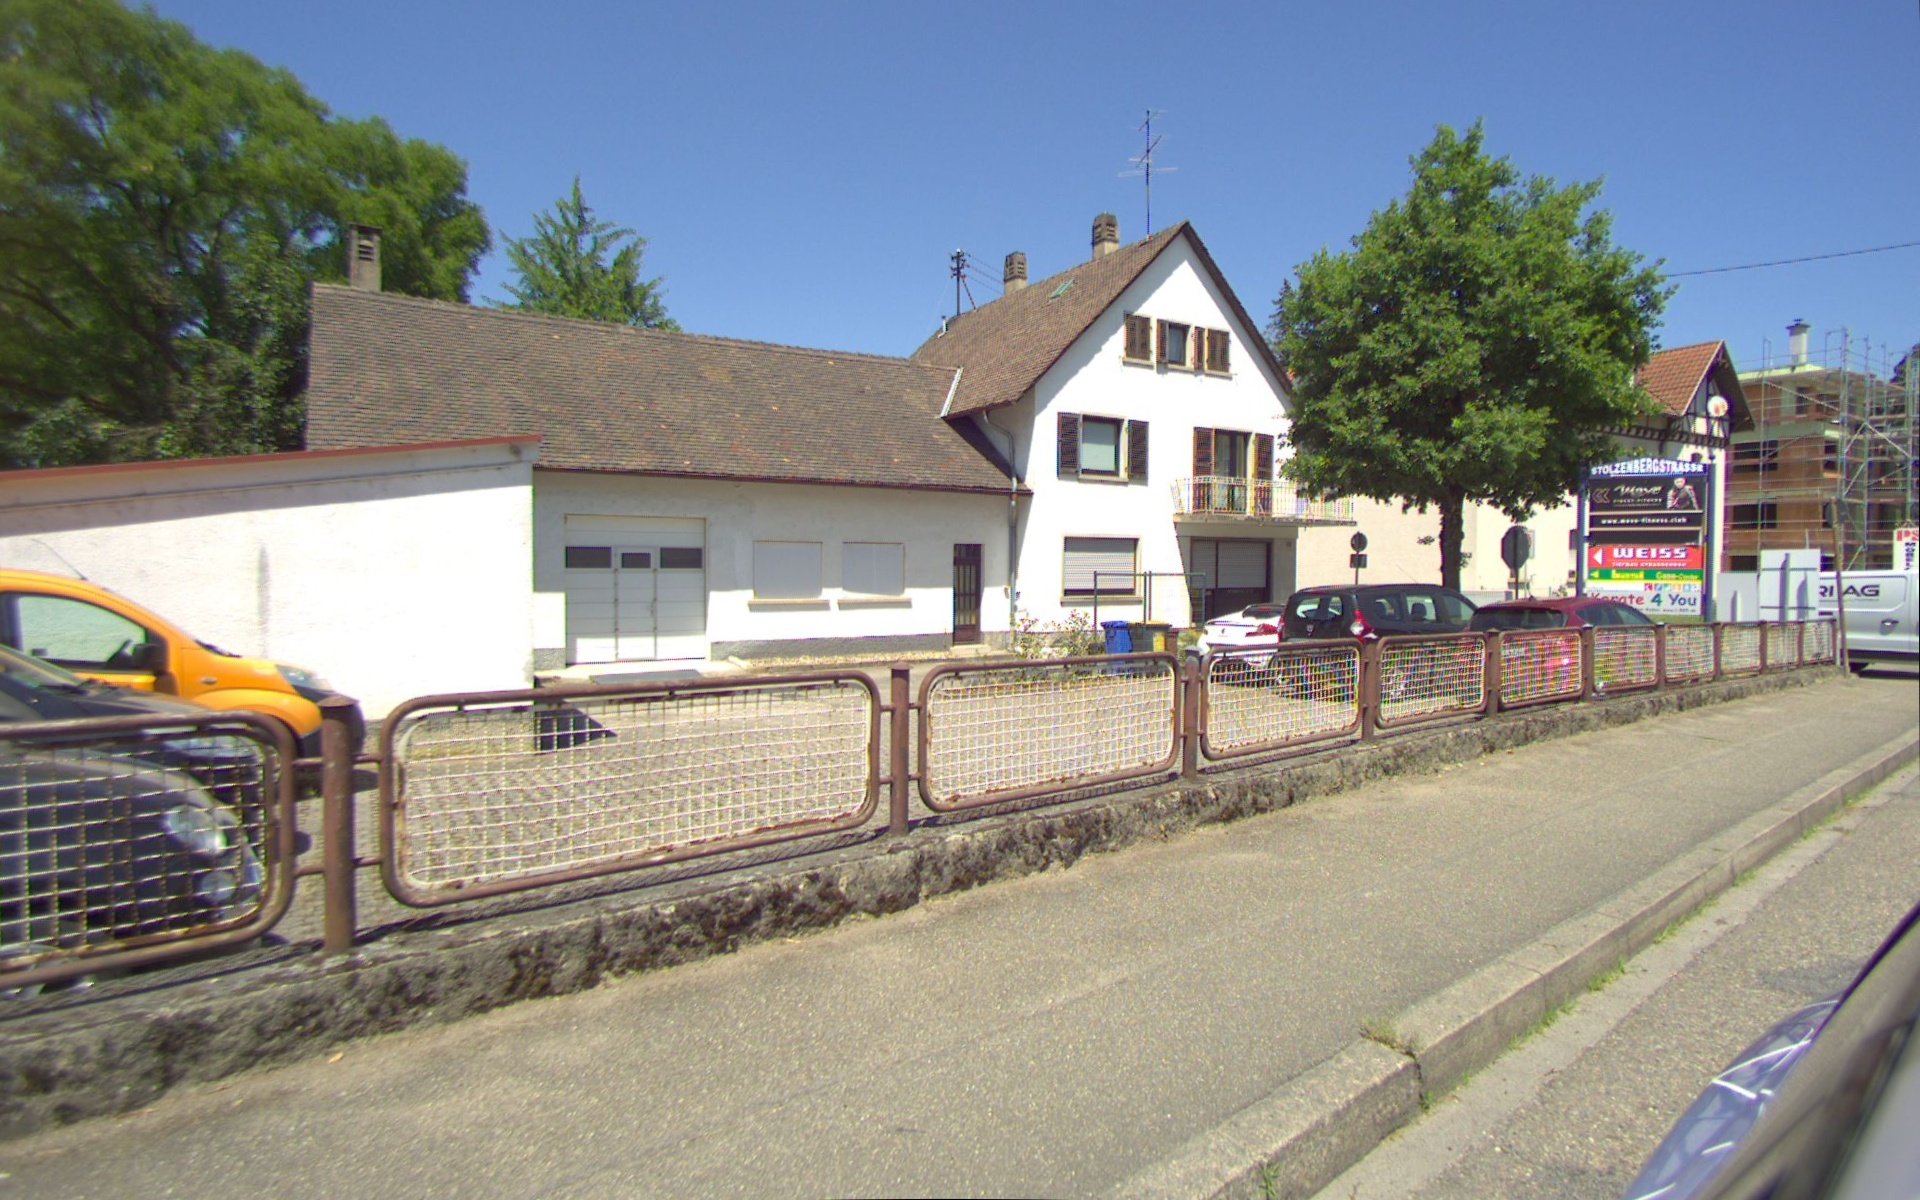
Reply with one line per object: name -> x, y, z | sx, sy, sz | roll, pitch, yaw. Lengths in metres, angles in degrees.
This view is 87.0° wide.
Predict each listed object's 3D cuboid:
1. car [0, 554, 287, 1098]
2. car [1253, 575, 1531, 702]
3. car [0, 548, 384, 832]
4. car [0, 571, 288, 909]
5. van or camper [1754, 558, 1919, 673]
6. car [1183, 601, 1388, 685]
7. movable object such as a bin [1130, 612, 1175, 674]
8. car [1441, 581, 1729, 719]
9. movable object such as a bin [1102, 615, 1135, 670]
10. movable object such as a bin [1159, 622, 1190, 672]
car -> -3.975, 0.662, 2.647 | 3.496, 1.478, 1.633 | -1, -2, -42
car -> 6.644, 0.489, 15.403 | 4.373, 1.686, 1.718 | -1, 0, -33
car -> -6.655, 0.612, 7.288 | 4.093, 1.823, 1.777 | -1, -2, -41
car -> -5.407, 0.699, 5.095 | 3.327, 1.563, 1.637 | -1, -2, -33
van or camper -> 17.737, 0.239, 18.119 | 1.958, 2.003, 5.373 | -3, 0, -15
car -> 5.722, 0.685, 17.726 | 3.319, 1.286, 1.718 | -1, 1, -33
movable object such as a bin -> 3.454, 0.767, 18.145 | 0.627, 1.060, 0.492 | -1, 1, -32
car -> 8.232, 0.541, 13.270 | 3.764, 1.542, 1.719 | -1, 2, -32
movable object such as a bin -> 2.933, 0.777, 18.714 | 0.408, 0.981, 0.453 | -1, 1, -32
movable object such as a bin -> 3.924, 0.850, 18.506 | 0.378, 0.865, 0.398 | -1, 1, -32
